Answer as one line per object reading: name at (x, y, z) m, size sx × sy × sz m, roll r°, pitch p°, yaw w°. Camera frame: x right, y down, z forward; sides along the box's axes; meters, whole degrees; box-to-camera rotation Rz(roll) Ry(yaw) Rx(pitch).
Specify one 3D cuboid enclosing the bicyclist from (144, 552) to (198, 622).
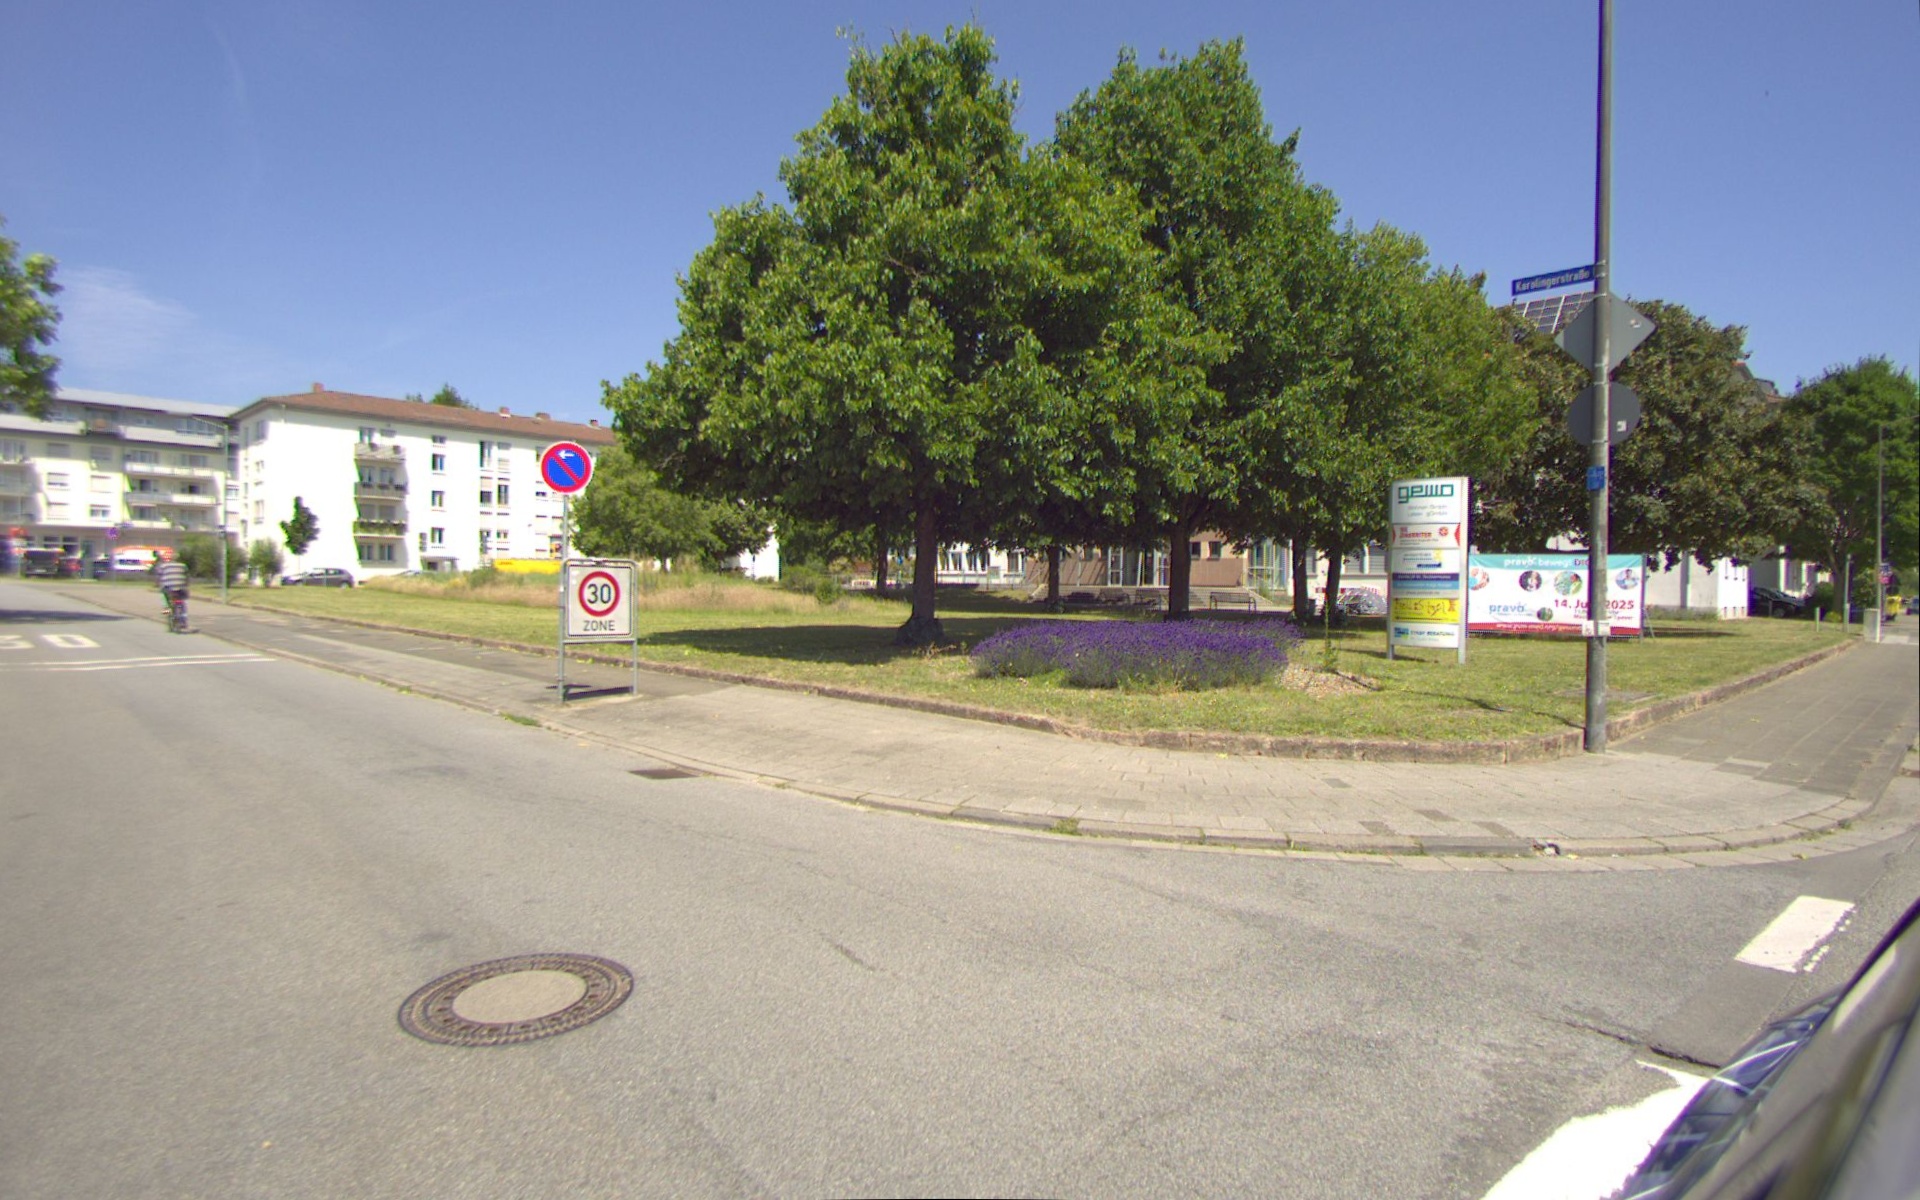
bicyclist at (-17.920, -0.300, 22.989) m, size 0.925 × 1.549 × 0.843 m, roll 1°, pitch 1°, yaw 43°

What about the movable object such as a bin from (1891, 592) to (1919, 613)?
movable object such as a bin at (70.810, 0.191, 75.865) m, size 1.495 × 1.499 × 1.401 m, roll 2°, pitch 1°, yaw 43°

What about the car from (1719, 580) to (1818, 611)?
car at (47.263, -0.282, 59.198) m, size 4.354 × 1.545 × 1.970 m, roll 4°, pitch 3°, yaw 42°

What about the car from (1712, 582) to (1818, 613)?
car at (43.431, -0.145, 54.655) m, size 4.354 × 1.453 × 1.970 m, roll 4°, pitch 3°, yaw 42°

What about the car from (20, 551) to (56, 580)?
car at (-63.726, -2.379, 69.959) m, size 1.493 × 1.951 × 3.181 m, roll 0°, pitch 1°, yaw -36°

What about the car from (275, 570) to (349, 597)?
car at (-41.346, -1.066, 64.591) m, size 3.770 × 1.649 × 1.506 m, roll -1°, pitch -1°, yaw -44°

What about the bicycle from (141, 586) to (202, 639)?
bicycle at (-17.912, 0.256, 22.976) m, size 2.139 × 1.117 × 0.803 m, roll 2°, pitch 1°, yaw 44°

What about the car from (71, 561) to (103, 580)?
car at (-62.087, -2.079, 72.009) m, size 1.493 × 1.343 × 3.181 m, roll 0°, pitch 1°, yaw -36°

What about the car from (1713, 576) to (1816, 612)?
car at (45.137, -0.348, 56.828) m, size 4.354 × 1.808 × 1.970 m, roll 4°, pitch 3°, yaw 42°
